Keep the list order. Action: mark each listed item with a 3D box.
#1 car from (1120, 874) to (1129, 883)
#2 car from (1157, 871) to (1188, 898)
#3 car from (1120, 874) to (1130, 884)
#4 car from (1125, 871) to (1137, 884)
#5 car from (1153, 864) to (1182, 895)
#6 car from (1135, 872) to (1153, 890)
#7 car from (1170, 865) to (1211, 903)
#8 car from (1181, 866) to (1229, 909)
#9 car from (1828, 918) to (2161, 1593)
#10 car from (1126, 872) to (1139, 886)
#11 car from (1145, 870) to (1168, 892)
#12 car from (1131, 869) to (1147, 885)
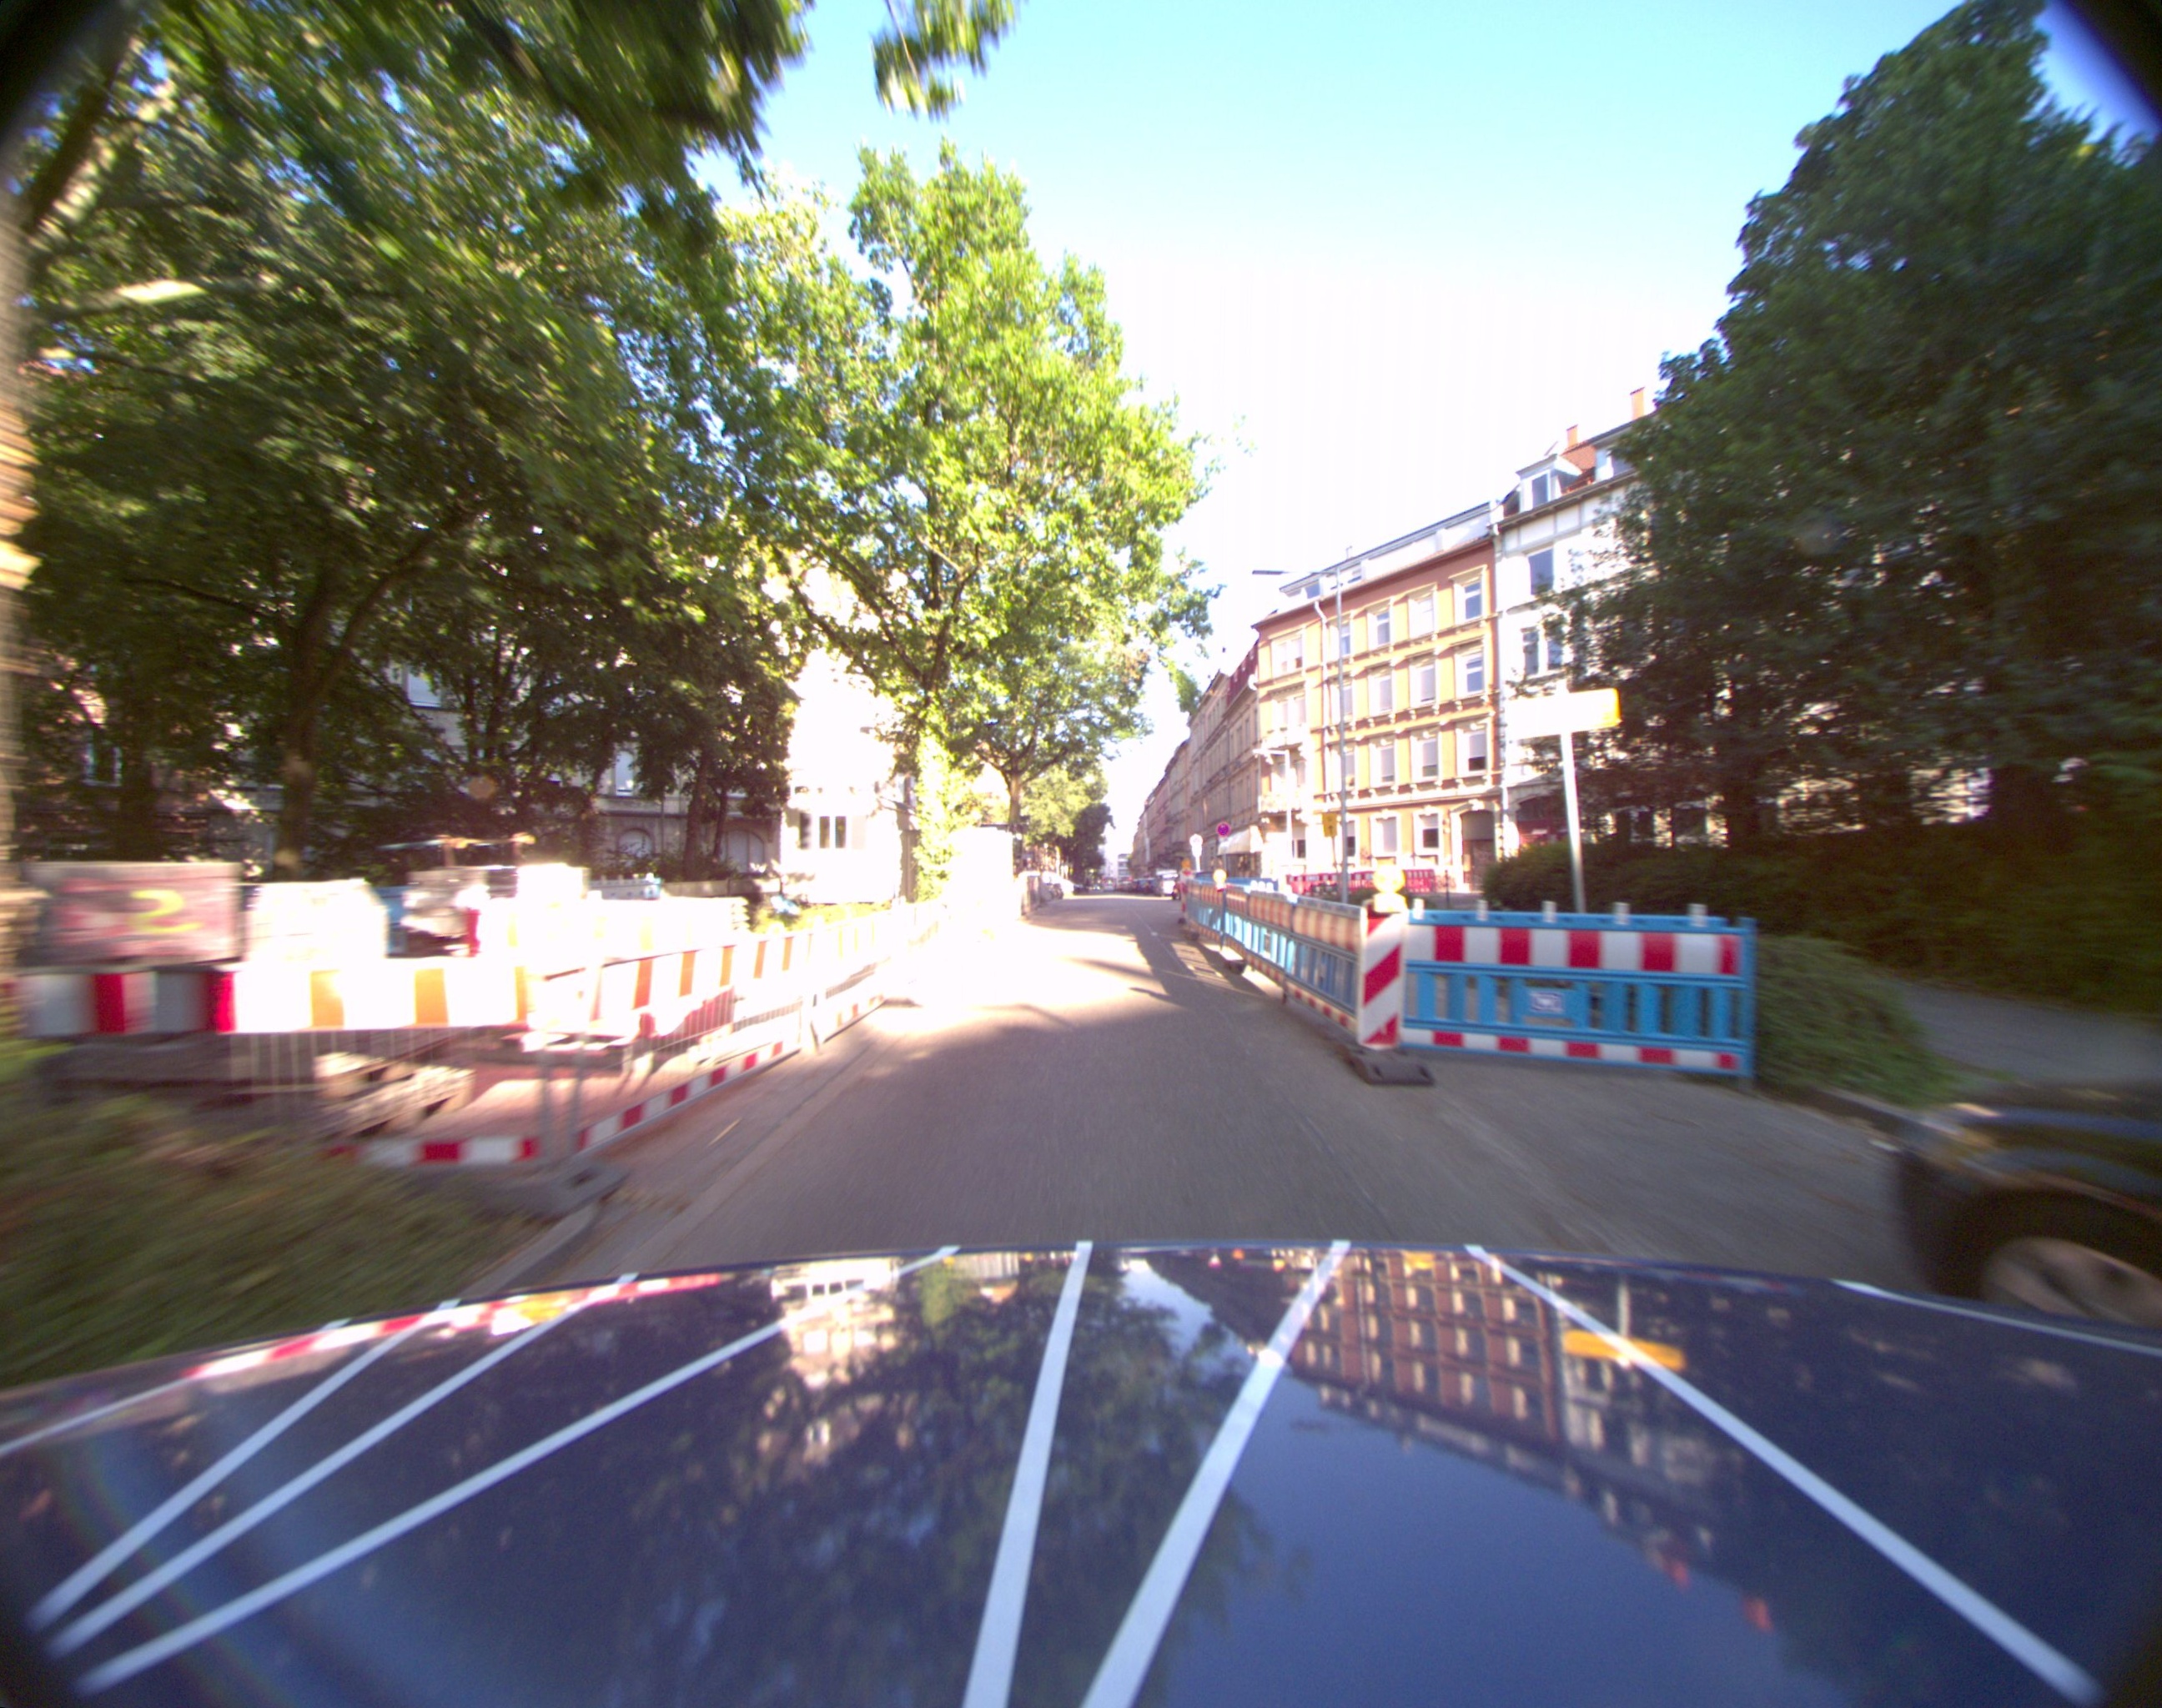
[{"bbox_3d":[8.940,5.001,156.742,1.703,1.740,4.194,1,1,2],"label":"car"},{"bbox_3d":[6.092,1.994,50.843,1.703,1.560,4.194,1,1,2],"label":"car"},{"bbox_3d":[8.376,4.715,145.430,1.703,1.740,4.194,1,1,2],"label":"car"},{"bbox_3d":[7.318,3.490,111.621,1.703,1.740,4.194,1,1,2],"label":"car"},{"bbox_3d":[6.358,1.832,56.148,1.703,2.104,4.194,1,1,2],"label":"car"},{"bbox_3d":[6.634,2.841,80.423,1.703,1.740,4.194,1,1,2],"label":"car"},{"bbox_3d":[5.849,1.542,40.899,1.703,1.829,4.194,1,1,2],"label":"car"},{"bbox_3d":[5.848,1.551,36.265,1.703,1.794,4.194,1,1,2],"label":"car"},{"bbox_3d":[3.155,0.922,0.269,1.703,1.391,4.194,1,1,2],"label":"car"},{"bbox_3d":[7.120,3.434,105.553,1.703,1.740,4.194,1,1,2],"label":"car"},{"bbox_3d":[6.566,2.347,66.226,1.703,1.740,4.194,1,1,2],"label":"car"},{"bbox_3d":[6.936,2.764,91.037,1.703,1.740,4.194,1,1,2],"label":"car"}]
